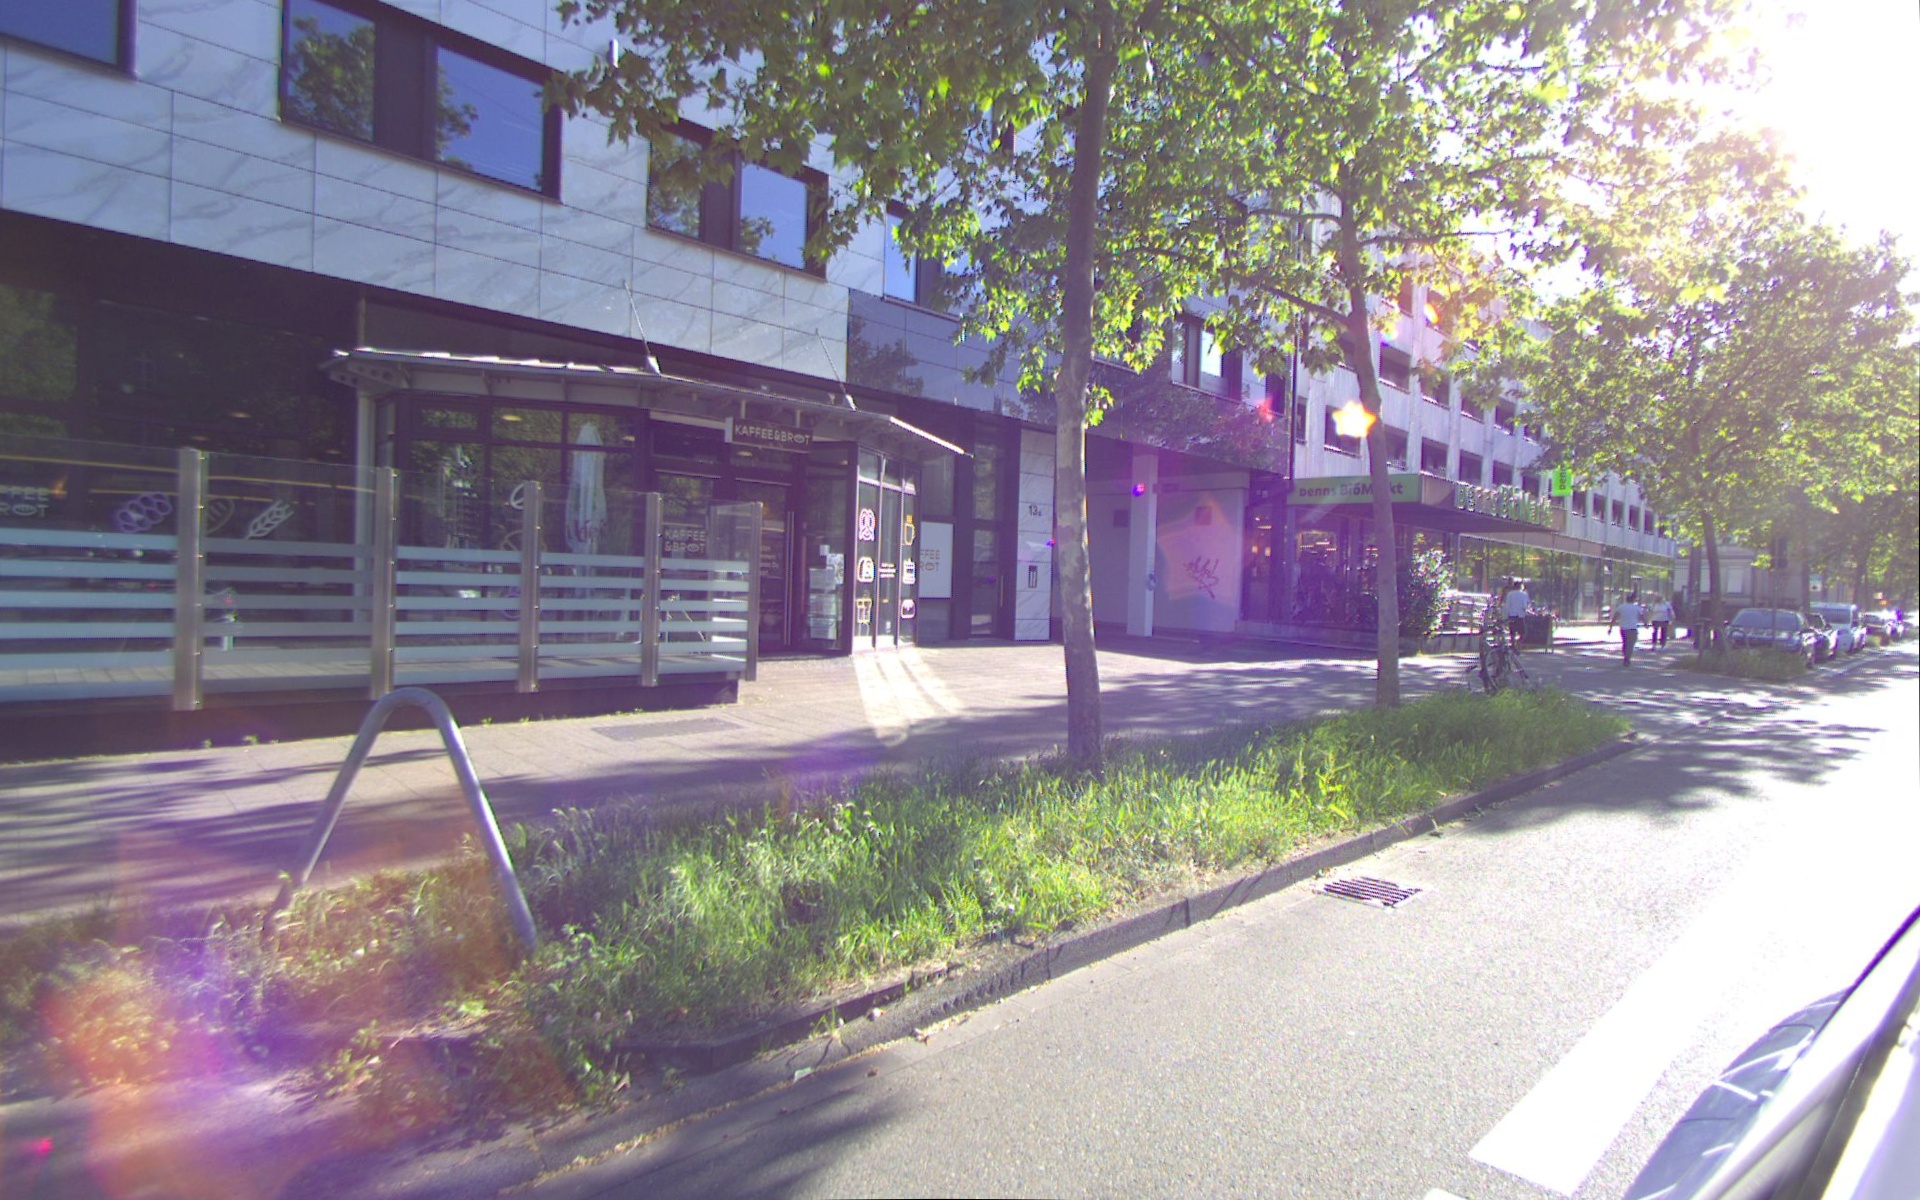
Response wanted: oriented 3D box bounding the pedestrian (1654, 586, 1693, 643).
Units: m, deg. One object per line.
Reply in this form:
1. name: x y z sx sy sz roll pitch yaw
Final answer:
1. pedestrian: 21.534 0.432 30.559 0.853 1.632 0.699 1 3 -42

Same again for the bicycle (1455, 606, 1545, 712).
1. bicycle: 6.634 0.668 12.387 0.785 1.147 1.824 2 1 33

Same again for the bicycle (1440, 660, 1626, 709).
1. bicycle: 6.847 0.987 12.113 1.366 0.357 1.610 0 2 -43

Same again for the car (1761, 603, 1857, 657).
1. car: 25.280 0.830 30.085 4.623 1.436 1.762 0 1 -45

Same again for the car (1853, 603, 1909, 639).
1. car: 43.042 0.950 47.270 1.674 1.455 3.631 6 4 45

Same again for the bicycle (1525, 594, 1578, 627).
1. bicycle: 21.944 0.390 37.594 0.573 1.068 1.710 3 3 -17

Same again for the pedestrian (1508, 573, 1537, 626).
1. pedestrian: 19.590 -0.023 35.252 0.607 1.735 0.609 8 4 22

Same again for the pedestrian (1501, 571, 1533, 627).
1. pedestrian: 17.369 -0.024 31.562 0.867 1.698 0.558 1 3 -45

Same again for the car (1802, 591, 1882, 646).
1. car: 32.011 0.656 36.689 4.319 1.814 1.766 1 2 -44

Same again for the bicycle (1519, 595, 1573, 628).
1. bicycle: 21.276 0.407 36.766 0.573 1.068 1.710 4 2 -17

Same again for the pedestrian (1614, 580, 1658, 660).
1. pedestrian: 15.128 0.442 22.636 1.034 1.725 0.560 1 2 -44

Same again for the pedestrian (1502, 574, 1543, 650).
1. pedestrian: 13.484 0.287 24.255 0.864 1.766 0.560 1 2 -44

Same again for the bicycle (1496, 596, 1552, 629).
1. bicycle: 18.929 0.405 33.998 0.573 0.927 1.656 5 2 -17

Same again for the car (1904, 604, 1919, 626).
1. car: 72.117 1.101 75.856 4.203 1.584 1.836 0 1 -44

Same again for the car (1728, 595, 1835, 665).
1. car: 20.579 0.703 25.308 3.933 1.570 1.566 0 1 -44
